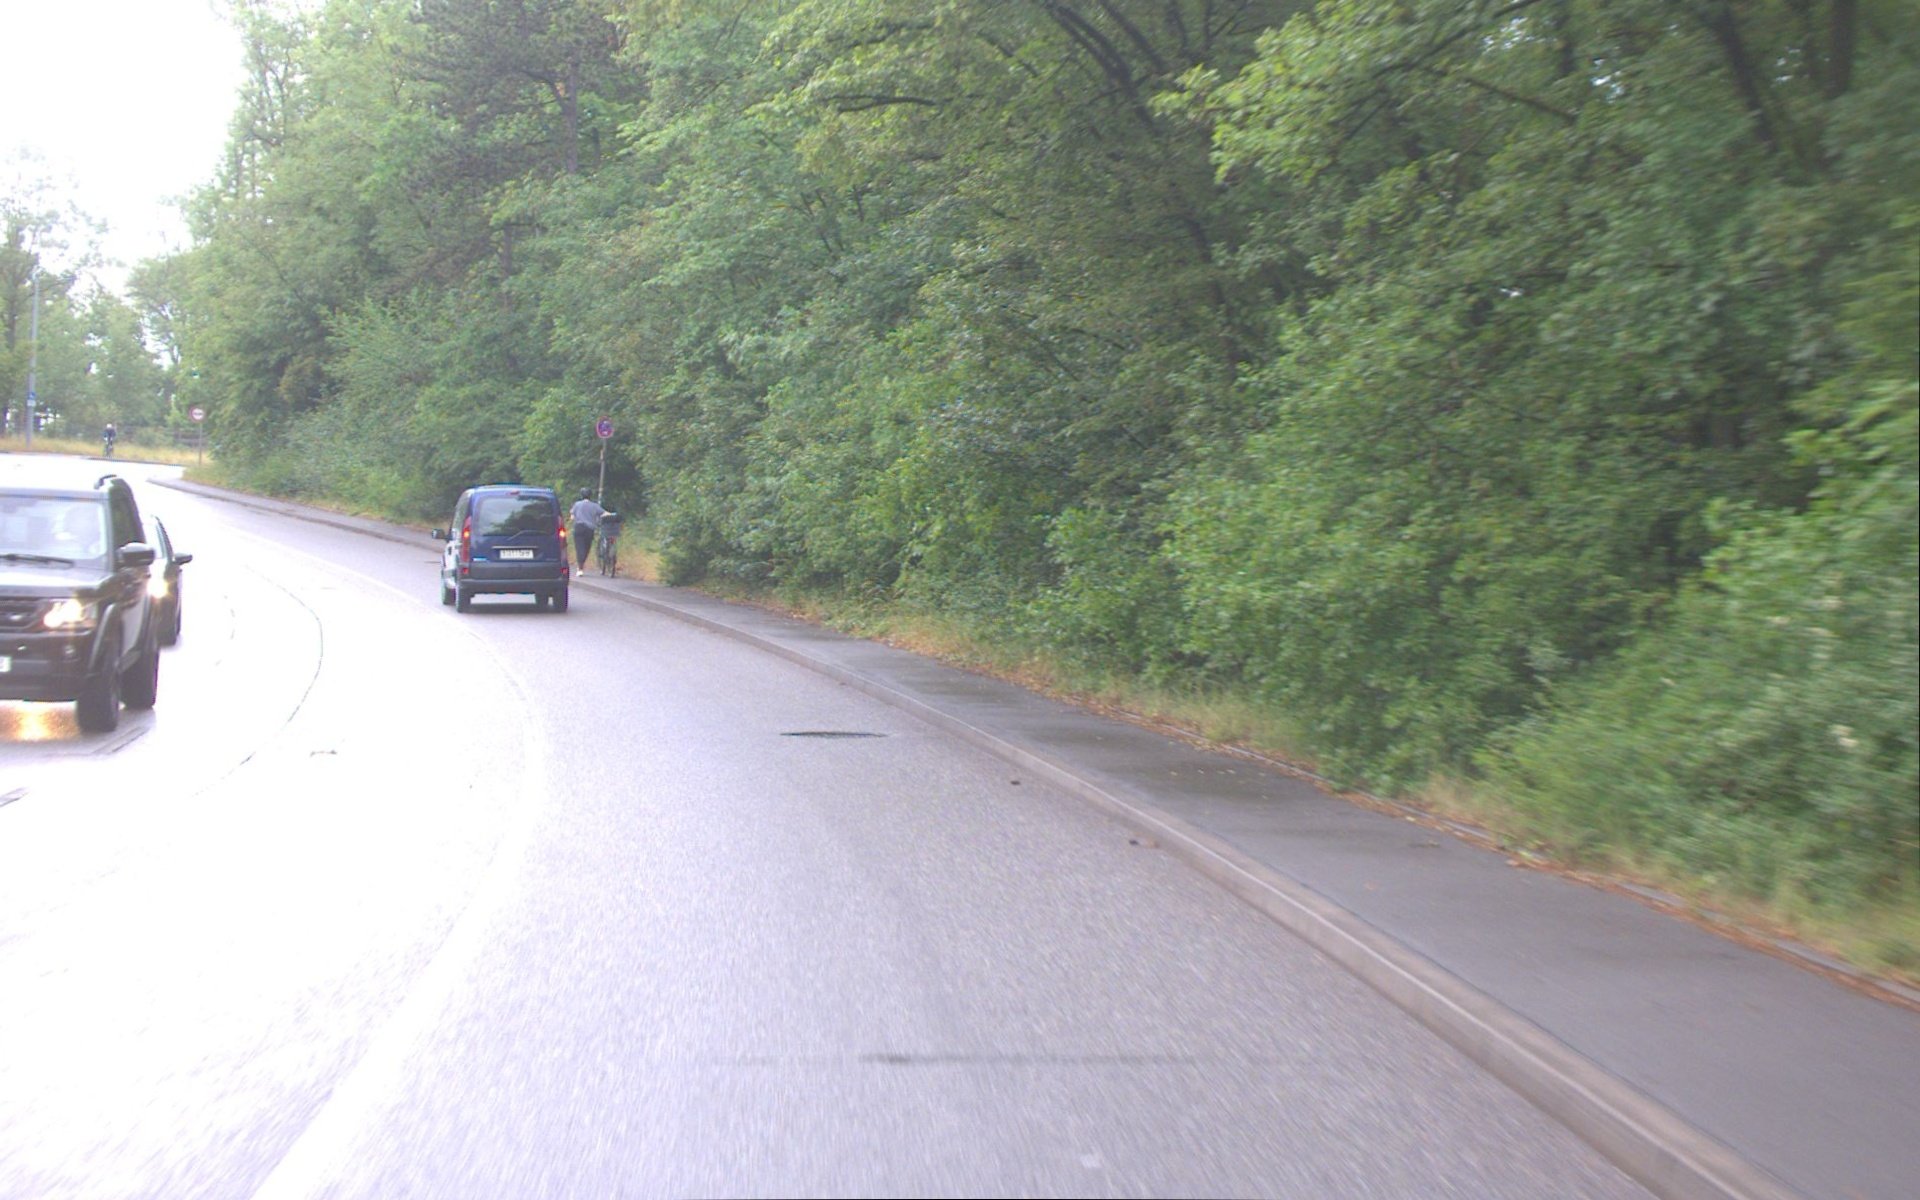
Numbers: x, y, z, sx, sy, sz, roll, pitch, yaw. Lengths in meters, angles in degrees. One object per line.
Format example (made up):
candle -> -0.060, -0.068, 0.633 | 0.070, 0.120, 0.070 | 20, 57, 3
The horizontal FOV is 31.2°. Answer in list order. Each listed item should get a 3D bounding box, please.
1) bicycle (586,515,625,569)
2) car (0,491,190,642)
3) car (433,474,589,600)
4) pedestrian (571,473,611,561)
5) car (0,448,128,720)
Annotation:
bicycle -> -6.313, -1.035, 61.150 | 0.355, 0.846, 1.744 | -1, 5, -17
car -> -10.052, -0.429, 39.974 | 1.826, 1.435, 4.002 | 2, 4, -9
car -> -6.746, -0.953, 51.349 | 1.826, 1.787, 4.001 | 0, 1, -14
pedestrian -> -6.631, -1.484, 61.732 | 0.564, 1.571, 0.770 | 0, 0, -17
car -> -7.444, -0.205, 26.688 | 1.826, 1.836, 4.713 | -1, 4, -13
